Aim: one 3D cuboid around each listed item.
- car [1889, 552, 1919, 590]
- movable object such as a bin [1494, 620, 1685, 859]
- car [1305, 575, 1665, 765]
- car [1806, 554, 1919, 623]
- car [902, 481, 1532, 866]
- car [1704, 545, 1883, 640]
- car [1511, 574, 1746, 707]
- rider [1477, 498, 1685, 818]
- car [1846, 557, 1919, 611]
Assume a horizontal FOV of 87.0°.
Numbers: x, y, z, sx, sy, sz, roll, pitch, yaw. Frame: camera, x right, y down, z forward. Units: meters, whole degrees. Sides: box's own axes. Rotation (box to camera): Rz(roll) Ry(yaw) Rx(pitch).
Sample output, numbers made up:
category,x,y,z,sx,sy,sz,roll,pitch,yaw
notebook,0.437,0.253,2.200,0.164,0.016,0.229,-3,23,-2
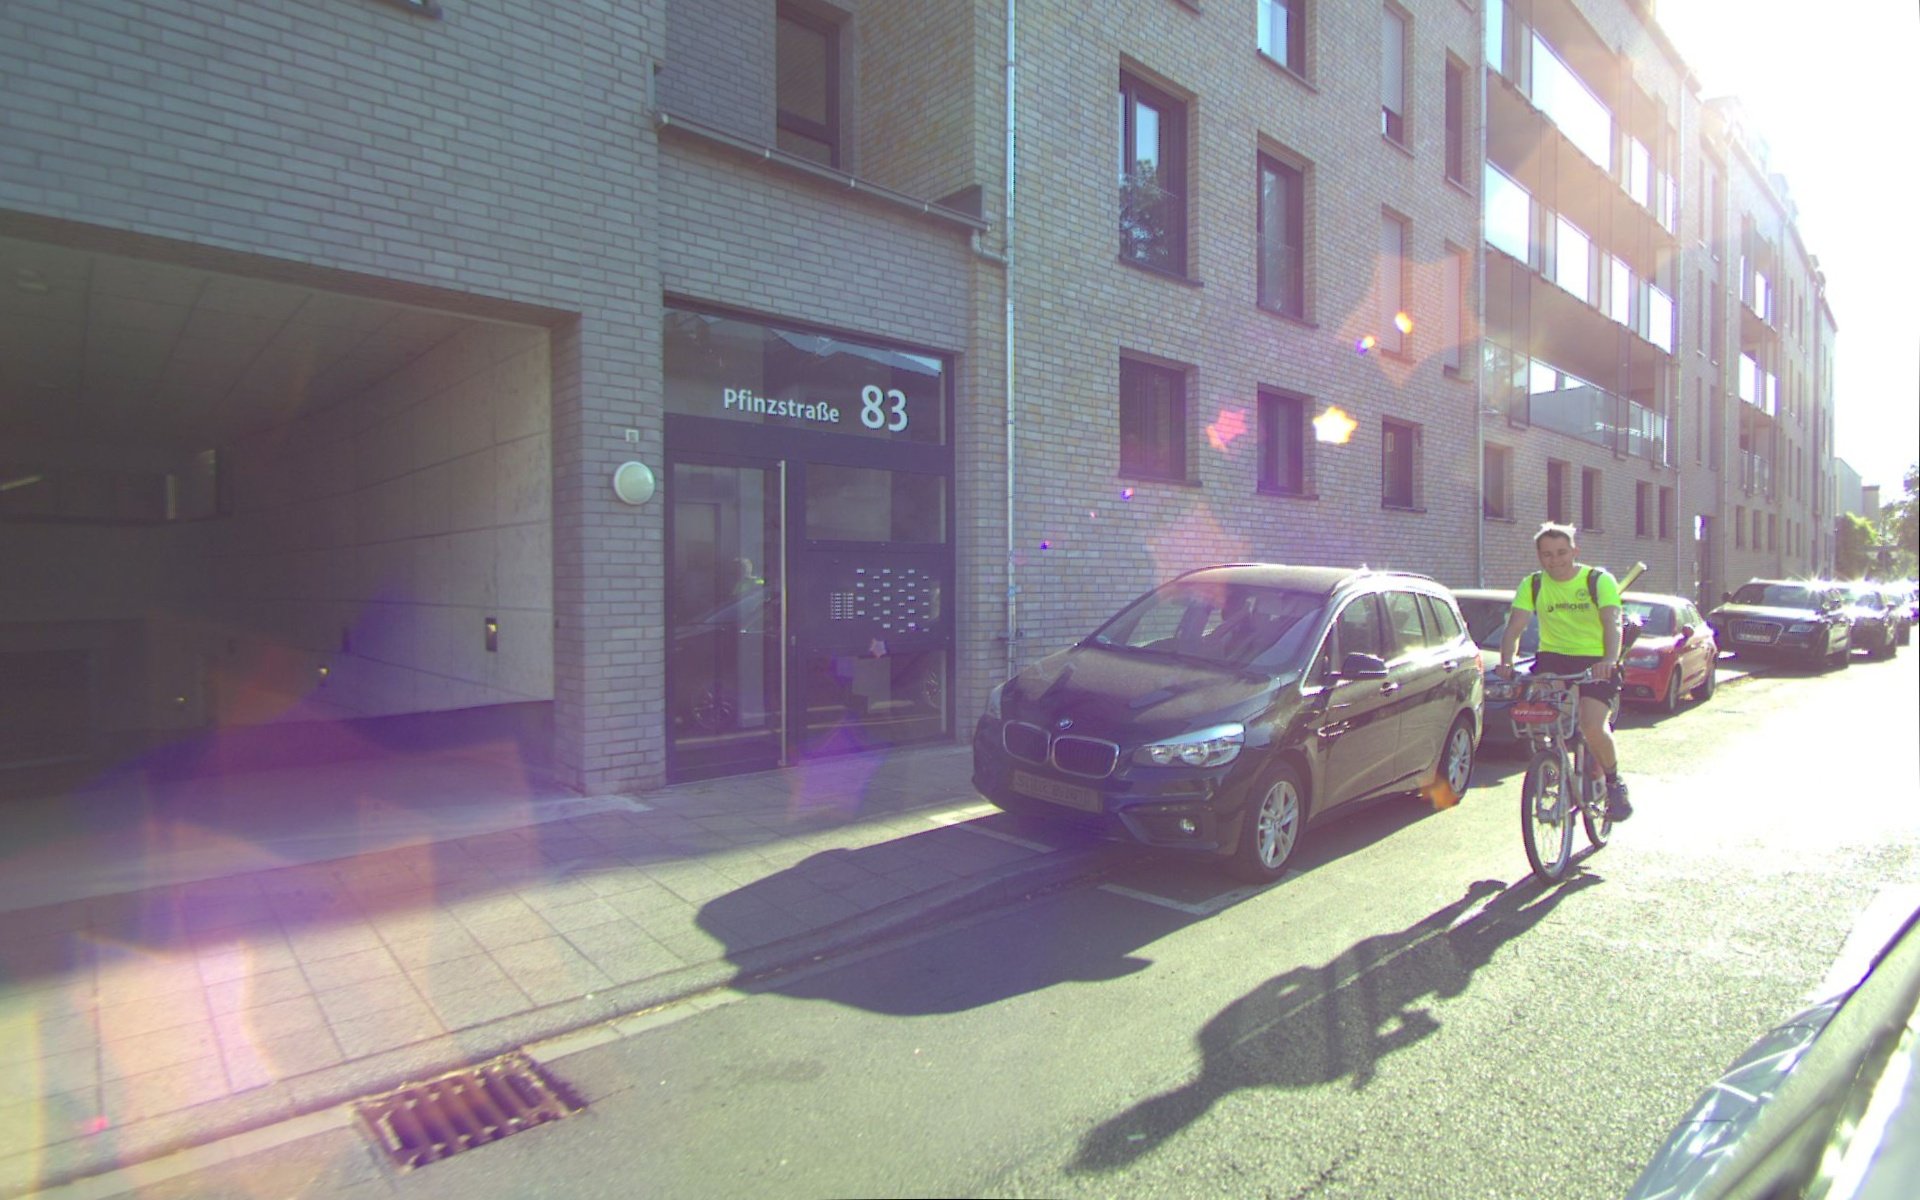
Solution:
category,x,y,z,sx,sy,sz,roll,pitch,yaw
car,42.128,-1.278,44.617,1.650,1.611,4.276,2,3,42
movable object such as a bin,3.614,0.703,5.738,1.811,1.046,0.454,-4,0,-45
car,5.523,0.522,10.389,4.294,1.524,1.995,-1,1,-43
car,21.636,-0.319,24.173,4.201,1.485,1.817,-2,2,-45
car,2.015,0.279,6.772,1.994,1.674,4.686,0,1,45
car,16.987,-0.176,20.541,4.687,1.733,1.894,-1,1,-39
car,9.097,0.423,13.650,4.005,1.421,1.715,-2,5,-43
rider,3.455,0.275,5.611,1.066,1.581,0.653,-3,-1,-44
car,27.479,-0.531,29.974,1.696,1.485,4.648,2,3,43
